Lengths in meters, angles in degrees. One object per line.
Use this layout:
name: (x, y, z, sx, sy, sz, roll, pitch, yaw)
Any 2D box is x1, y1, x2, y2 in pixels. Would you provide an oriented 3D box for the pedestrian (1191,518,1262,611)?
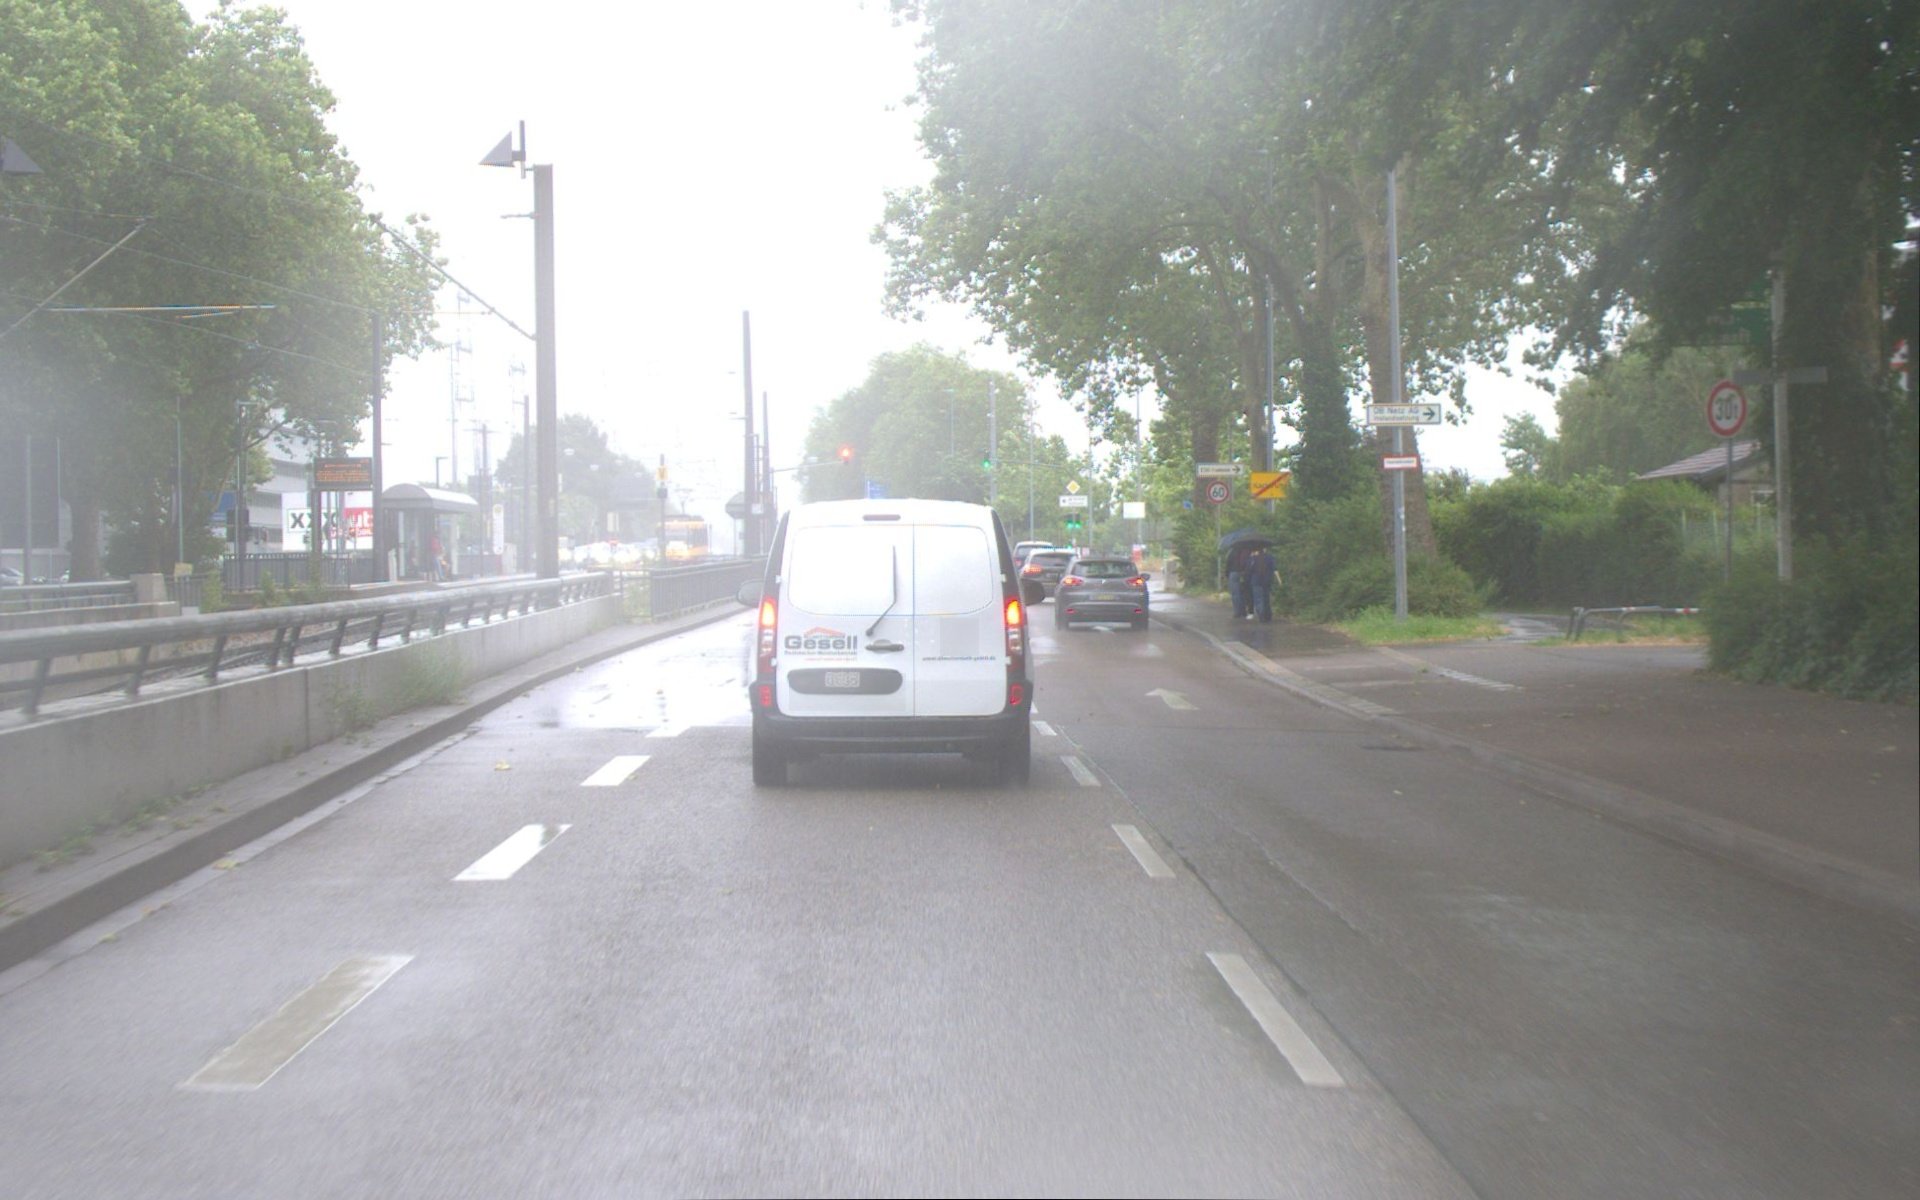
pedestrian: (5.385, -0.724, 69.592, 1.240, 1.779, 1.147, -4, 1, 0)

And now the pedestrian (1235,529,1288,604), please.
pedestrian: (5.759, -0.645, 65.699, 0.892, 1.385, 1.016, -2, 1, 0)

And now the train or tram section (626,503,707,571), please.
train or tram section: (-18.679, -3.993, 220.756, 3.770, 4.022, 27.096, 1, 1, -2)

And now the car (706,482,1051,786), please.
car: (-0.590, 0.175, 22.758, 2.024, 1.769, 4.275, 1, 1, -3)

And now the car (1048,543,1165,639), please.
car: (2.778, -0.192, 66.014, 1.993, 1.744, 4.000, 1, 1, -1)

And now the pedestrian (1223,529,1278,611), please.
pedestrian: (5.714, -0.593, 67.619, 0.947, 1.583, 1.294, -1, 1, 0)

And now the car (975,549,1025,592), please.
car: (1.700, -1.270, 147.105, 1.993, 1.744, 4.000, 1, 1, -1)
